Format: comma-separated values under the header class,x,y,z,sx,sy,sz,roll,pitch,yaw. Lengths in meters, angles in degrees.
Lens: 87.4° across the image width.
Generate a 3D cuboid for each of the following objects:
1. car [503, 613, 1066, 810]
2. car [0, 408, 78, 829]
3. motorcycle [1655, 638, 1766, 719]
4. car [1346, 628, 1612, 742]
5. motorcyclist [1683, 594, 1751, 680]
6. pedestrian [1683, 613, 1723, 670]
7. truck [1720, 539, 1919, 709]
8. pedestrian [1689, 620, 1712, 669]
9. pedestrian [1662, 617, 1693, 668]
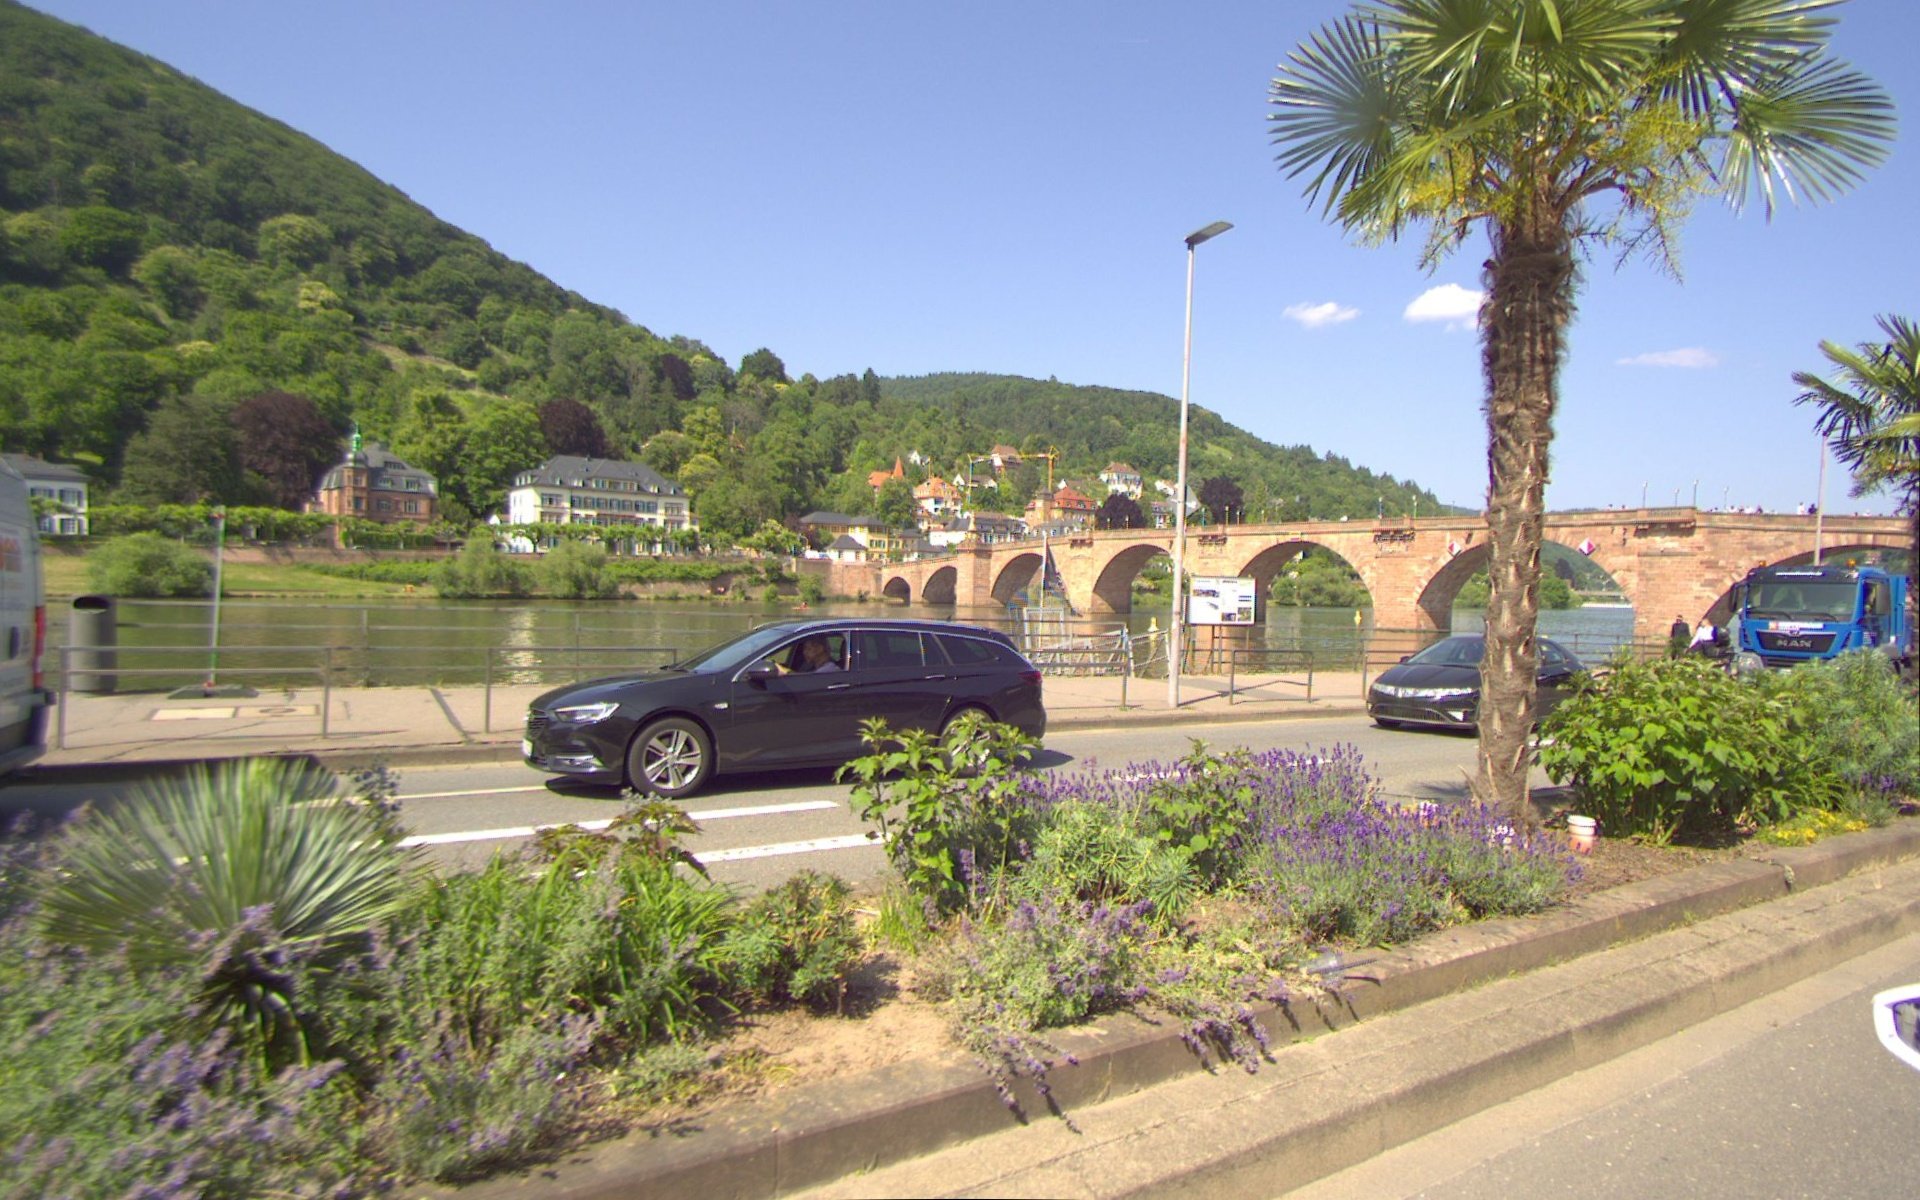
class,x,y,z,sx,sy,sz,roll,pitch,yaw
car,-1.533,0.891,9.481,4.865,1.437,1.983,2,-1,-32
car,-8.251,0.091,5.543,4.697,2.559,2.183,2,-2,-32
motorcycle,13.936,1.427,18.622,2.482,1.405,0.722,2,0,-30
car,7.853,1.224,15.111,4.033,1.455,1.649,2,0,-30
motorcyclist,14.084,0.675,18.693,0.851,1.547,0.698,2,0,-30
pedestrian,23.462,1.305,31.726,0.835,1.729,0.708,1,0,-30
truck,22.907,0.640,24.870,10.980,3.522,2.628,2,0,-31
pedestrian,23.411,1.405,31.765,0.409,1.505,0.348,2,3,-30
pedestrian,23.168,1.371,32.440,0.409,1.578,0.585,2,3,-30
